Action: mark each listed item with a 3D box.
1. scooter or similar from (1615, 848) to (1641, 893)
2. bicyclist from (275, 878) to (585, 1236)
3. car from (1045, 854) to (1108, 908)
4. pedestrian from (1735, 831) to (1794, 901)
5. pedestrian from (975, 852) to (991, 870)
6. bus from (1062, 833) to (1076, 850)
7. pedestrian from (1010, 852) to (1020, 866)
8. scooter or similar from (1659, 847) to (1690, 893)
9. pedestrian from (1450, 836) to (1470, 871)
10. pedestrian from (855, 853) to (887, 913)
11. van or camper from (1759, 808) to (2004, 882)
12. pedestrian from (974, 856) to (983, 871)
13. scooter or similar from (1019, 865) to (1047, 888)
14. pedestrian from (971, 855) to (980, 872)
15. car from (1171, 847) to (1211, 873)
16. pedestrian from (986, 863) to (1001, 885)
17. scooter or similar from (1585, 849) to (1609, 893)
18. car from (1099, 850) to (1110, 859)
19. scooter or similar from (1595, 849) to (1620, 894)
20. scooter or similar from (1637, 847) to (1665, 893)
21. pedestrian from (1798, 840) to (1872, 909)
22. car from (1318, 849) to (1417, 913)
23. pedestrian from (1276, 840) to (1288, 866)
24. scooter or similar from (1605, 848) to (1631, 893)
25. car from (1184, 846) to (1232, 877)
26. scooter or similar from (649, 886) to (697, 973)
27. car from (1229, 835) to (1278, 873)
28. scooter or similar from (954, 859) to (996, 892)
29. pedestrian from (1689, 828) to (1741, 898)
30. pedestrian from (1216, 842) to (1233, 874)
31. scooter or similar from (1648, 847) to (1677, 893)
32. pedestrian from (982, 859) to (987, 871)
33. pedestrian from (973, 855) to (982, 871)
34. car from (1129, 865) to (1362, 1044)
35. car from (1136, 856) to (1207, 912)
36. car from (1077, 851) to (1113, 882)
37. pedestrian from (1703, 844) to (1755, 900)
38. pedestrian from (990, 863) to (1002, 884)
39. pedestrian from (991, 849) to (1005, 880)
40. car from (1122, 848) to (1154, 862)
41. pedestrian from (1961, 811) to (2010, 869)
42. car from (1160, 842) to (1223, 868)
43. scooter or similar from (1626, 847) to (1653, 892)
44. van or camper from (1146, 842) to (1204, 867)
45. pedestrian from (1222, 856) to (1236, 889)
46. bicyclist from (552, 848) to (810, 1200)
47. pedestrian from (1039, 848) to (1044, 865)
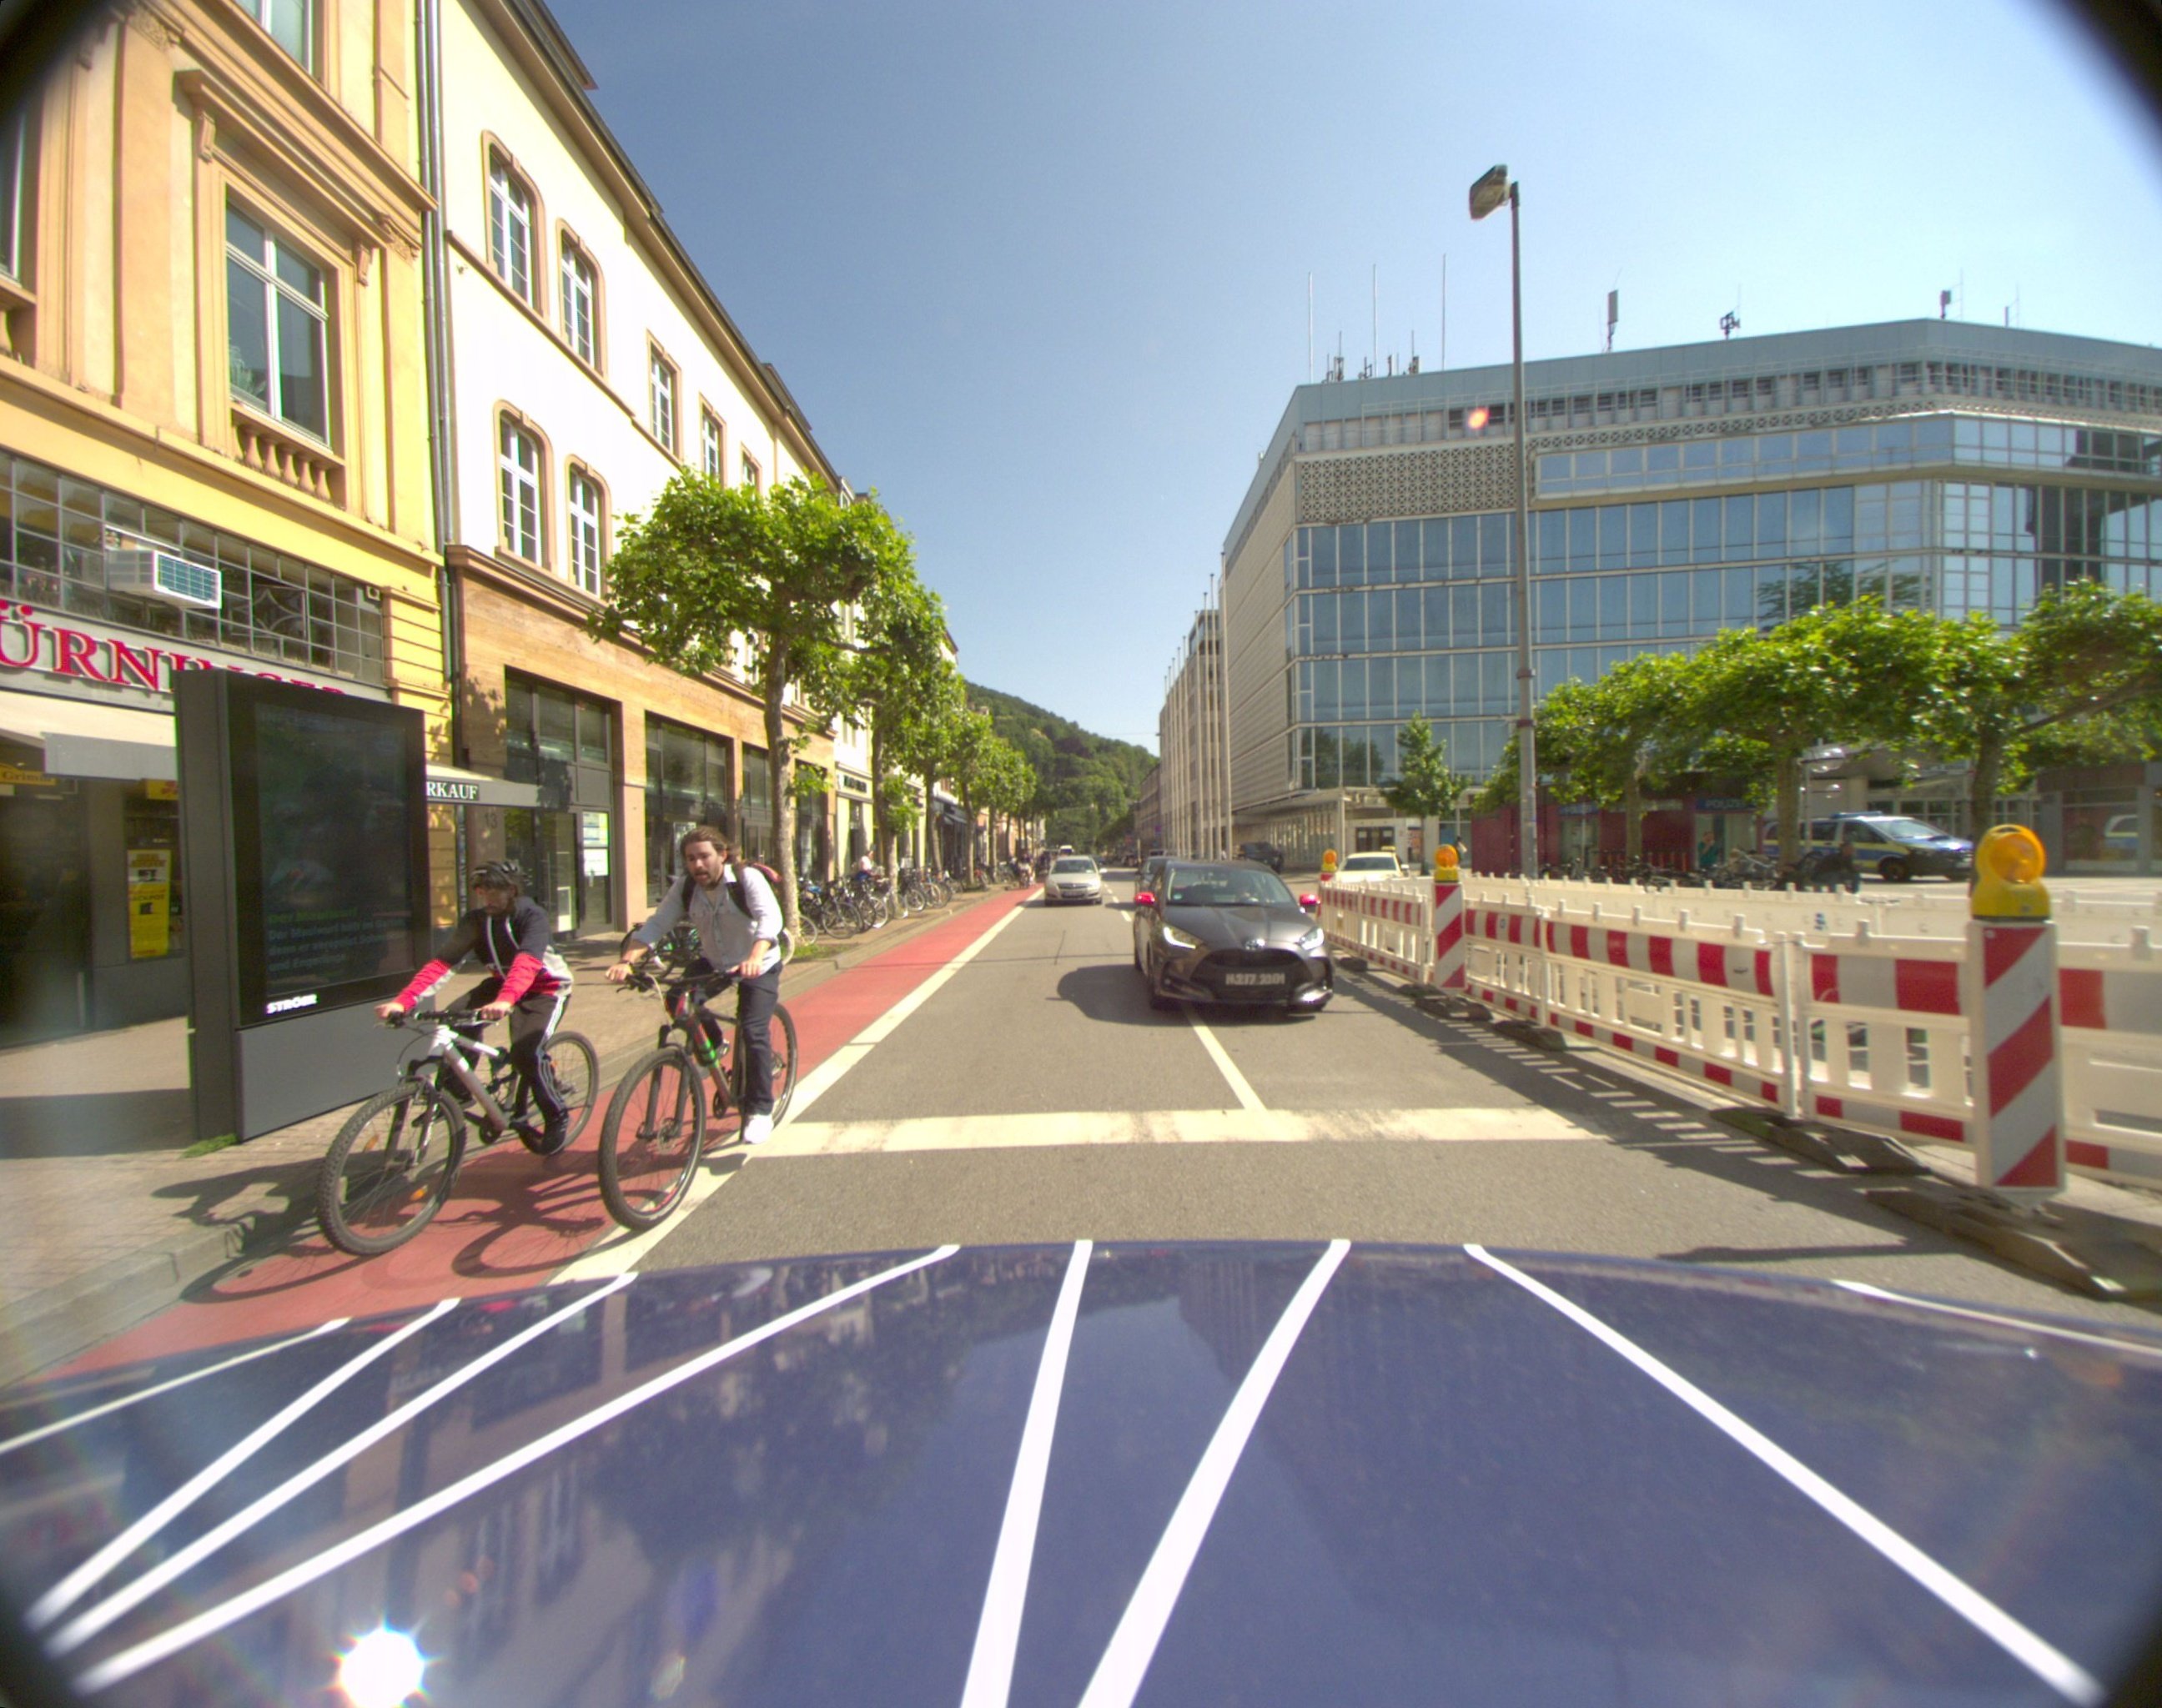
[{"bbox_3d":[15.381,0.452,21.376,0.233,1.207,1.305,-2,1,20],"label":"scooter or similar"},{"bbox_3d":[-2.973,0.861,3.573,0.700,1.432,0.790,-3,1,-3],"label":"bicyclist"},{"bbox_3d":[-0.210,0.783,23.899,1.791,1.484,4.366,-1,0,-2],"label":"car"},{"bbox_3d":[16.130,0.271,17.940,0.806,1.596,0.672,-2,1,-13],"label":"pedestrian"},{"bbox_3d":[-8.591,0.623,66.431,1.255,1.475,0.837,-1,1,-2],"label":"pedestrian"},{"bbox_3d":[-2.622,-2.668,160.735,2.924,3.516,12.496,0,1,-2],"label":"bus"},{"bbox_3d":[-7.762,0.559,89.402,0.904,1.603,0.974,-1,4,-28],"label":"pedestrian"},{"bbox_3d":[16.246,0.427,20.829,0.264,1.207,1.305,-2,1,20],"label":"scooter or similar"},{"bbox_3d":[18.265,-0.031,36.633,0.684,1.705,0.723,0,1,10],"label":"pedestrian"},{"bbox_3d":[-5.777,0.778,20.959,0.616,1.603,0.745,-2,1,2],"label":"pedestrian"},{"bbox_3d":[23.254,-0.280,22.460,1.877,1.907,5.023,-1,1,-1],"label":"van or camper"},{"bbox_3d":[-8.484,0.754,62.792,0.683,1.246,0.532,0,0,-2],"label":"pedestrian"},{"bbox_3d":[-2.316,1.095,36.629,0.784,1.054,1.128,-2,1,37],"label":"scooter or similar"},{"bbox_3d":[-8.544,0.746,61.651,0.683,1.325,0.531,-1,1,-2],"label":"pedestrian"},{"bbox_3d":[6.820,0.368,47.517,1.803,1.514,4.738,-2,0,1],"label":"car"},{"bbox_3d":[-5.101,1.172,44.482,0.789,1.236,0.576,-2,2,-2],"label":"pedestrian"},{"bbox_3d":[14.734,0.462,21.718,0.233,1.207,1.305,-2,1,20],"label":"scooter or similar"},{"bbox_3d":[3.909,0.104,127.120,1.734,1.389,4.106,-1,0,0],"label":"car"},{"bbox_3d":[14.943,0.479,21.567,0.233,1.207,1.305,-2,1,20],"label":"scooter or similar"},{"bbox_3d":[15.815,0.430,21.100,0.233,1.207,1.305,-2,1,20],"label":"scooter or similar"},{"bbox_3d":[15.542,0.407,15.687,0.672,1.373,0.897,-2,1,9],"label":"pedestrian"},{"bbox_3d":[8.002,0.666,20.958,1.892,1.533,4.870,-2,0,28],"label":"car"},{"bbox_3d":[12.705,-0.054,47.982,0.581,1.608,0.543,0,1,-1],"label":"pedestrian"},{"bbox_3d":[15.152,0.451,21.456,0.233,1.207,1.305,-2,1,20],"label":"scooter or similar"},{"bbox_3d":[6.883,0.381,41.719,1.765,1.591,4.709,-1,0,0],"label":"car"},{"bbox_3d":[-6.107,1.102,11.409,0.422,1.171,1.230,-2,1,-20],"label":"scooter or similar"},{"bbox_3d":[9.919,-0.014,44.015,1.836,2.002,4.685,-1,0,1],"label":"car"},{"bbox_3d":[-4.273,0.860,30.696,1.477,1.267,0.670,-2,1,11],"label":"scooter or similar"},{"bbox_3d":[15.543,0.206,18.652,0.673,1.668,0.687,-2,1,-8],"label":"pedestrian"},{"bbox_3d":[8.094,0.209,42.805,0.618,1.782,0.694,-1,1,40],"label":"pedestrian"},{"bbox_3d":[16.010,0.432,20.934,0.233,1.207,1.305,-2,1,20],"label":"scooter or similar"},{"bbox_3d":[-7.957,0.902,62.604,0.342,0.962,0.437,-1,1,2],"label":"pedestrian"},{"bbox_3d":[-8.460,0.732,62.247,0.683,1.330,0.531,-1,1,-2],"label":"pedestrian"},{"bbox_3d":[1.544,0.889,8.613,1.868,1.469,4.107,2,0,2],"label":"car"},{"bbox_3d":[2.502,0.784,21.916,1.733,1.389,4.106,-1,1,3],"label":"car"},{"bbox_3d":[0.679,0.628,39.228,1.775,1.469,4.106,-1,0,0],"label":"car"},{"bbox_3d":[15.428,0.420,18.097,0.673,1.301,0.686,-2,1,-17],"label":"pedestrian"},{"bbox_3d":[-5.028,1.161,45.110,0.641,1.226,0.596,-2,2,-2],"label":"pedestrian"},{"bbox_3d":[-4.647,0.578,42.643,0.641,1.679,0.843,-3,0,-2],"label":"pedestrian"},{"bbox_3d":[7.790,0.152,103.866,4.165,1.627,2.103,-5,1,9],"label":"car"},{"bbox_3d":[27.707,-0.431,23.288,0.803,1.739,0.606,-3,2,-5],"label":"pedestrian"},{"bbox_3d":[8.553,0.119,59.003,4.434,1.898,2.014,-1,0,37],"label":"car"},{"bbox_3d":[15.587,0.411,21.227,0.233,1.207,1.305,-2,1,20],"label":"scooter or similar"},{"bbox_3d":[8.281,0.059,67.160,4.648,2.002,2.004,-3,0,40],"label":"van or camper"},{"bbox_3d":[8.159,1.024,41.817,0.531,1.782,0.540,-1,1,40],"label":"pedestrian"},{"bbox_3d":[-1.846,0.716,3.666,0.700,1.437,0.961,-3,0,-3],"label":"bicyclist"},{"bbox_3d":[-3.979,0.260,76.961,0.453,1.784,0.608,-3,1,-2],"label":"pedestrian"}]
